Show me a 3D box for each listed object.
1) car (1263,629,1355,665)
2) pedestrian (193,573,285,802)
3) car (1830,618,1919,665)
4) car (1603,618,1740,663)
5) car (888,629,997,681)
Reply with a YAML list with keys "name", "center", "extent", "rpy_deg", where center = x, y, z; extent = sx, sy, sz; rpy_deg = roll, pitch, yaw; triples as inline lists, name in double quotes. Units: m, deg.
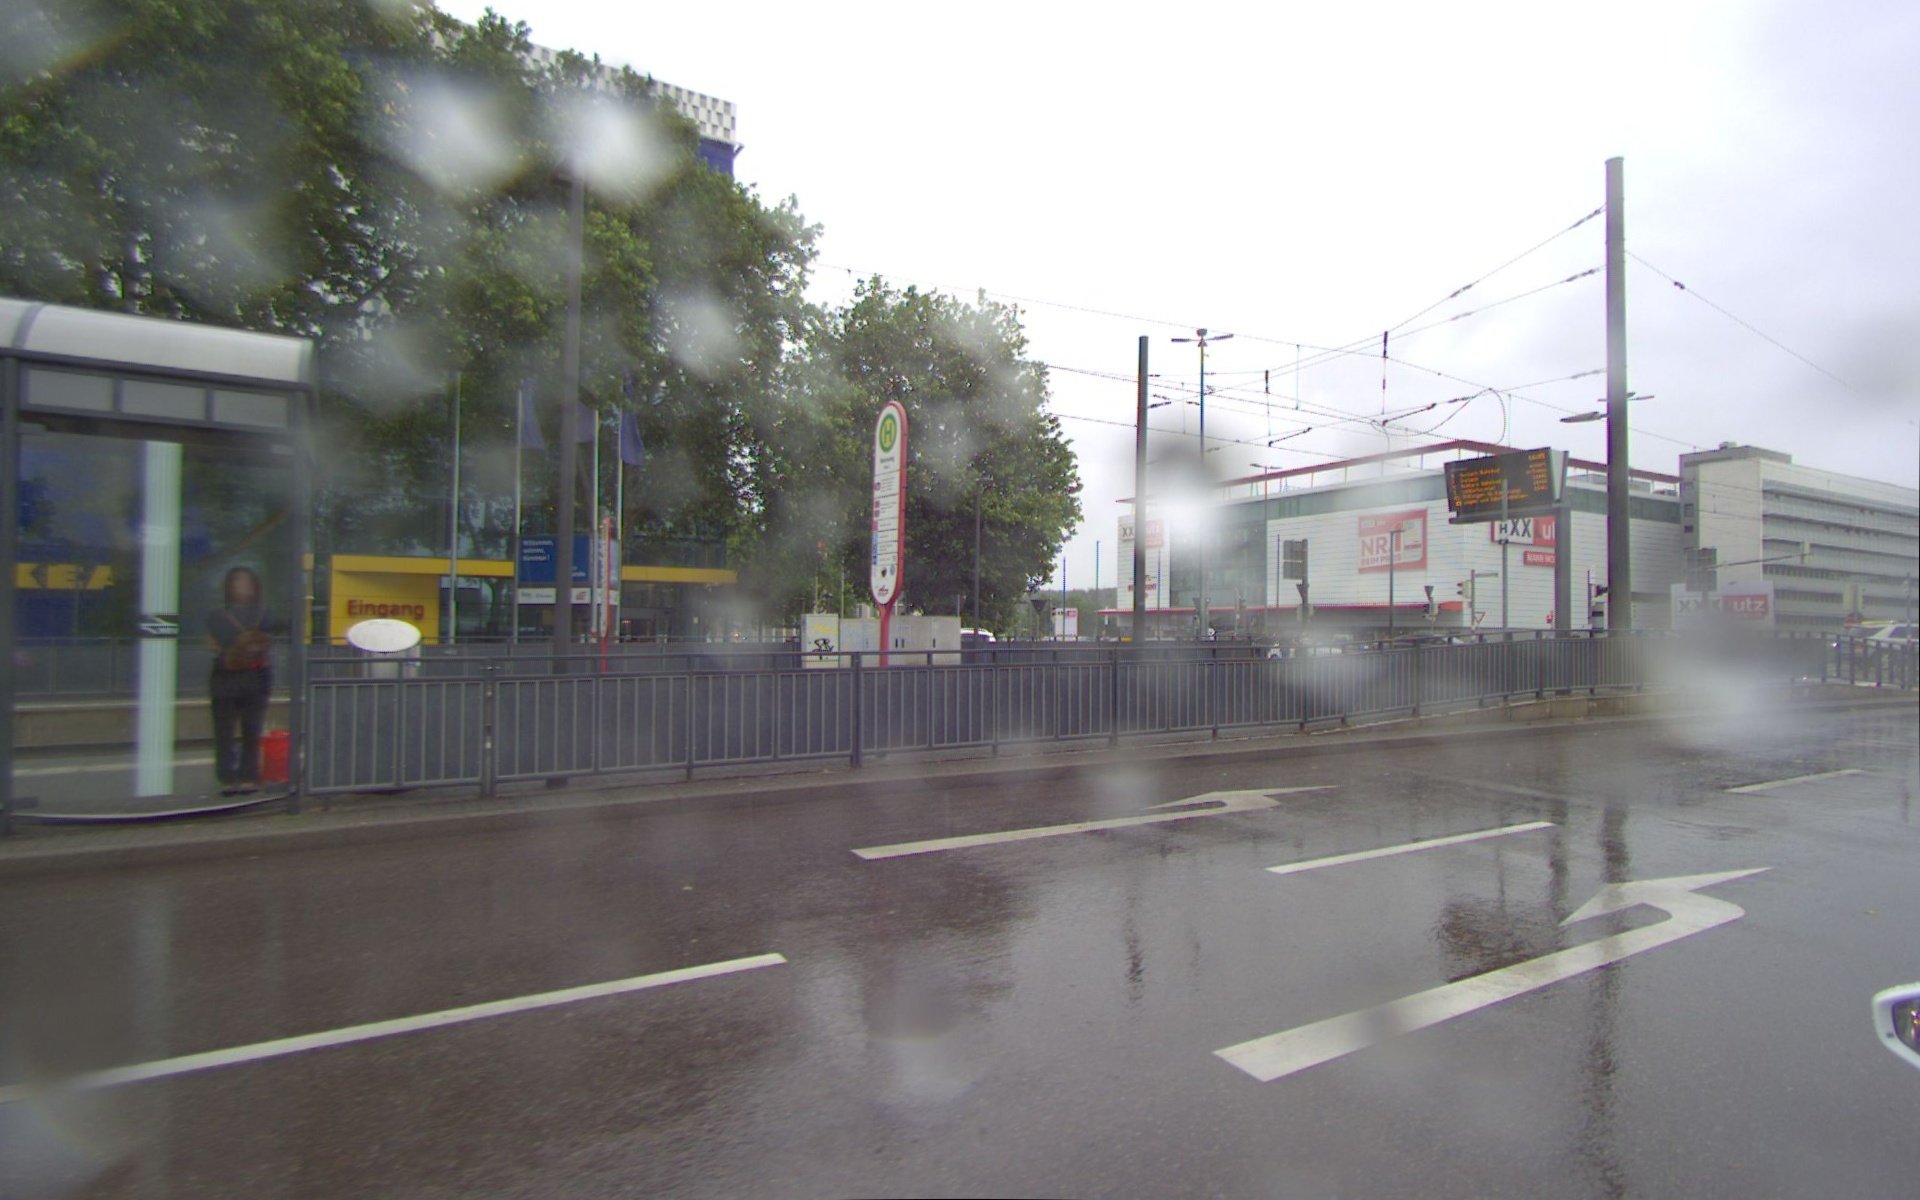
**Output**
- name: "car"
  center: [18.267, 2.444, 52.723]
  extent: [1.807, 1.521, 4.221]
  rpy_deg: [3, 0, -41]
- name: "pedestrian"
  center: [-4.915, 0.586, 6.860]
  extent: [0.410, 1.513, 0.320]
  rpy_deg: [2, 0, -25]
- name: "car"
  center: [36.629, 1.651, 38.587]
  extent: [4.379, 1.684, 1.952]
  rpy_deg: [3, 0, 24]
- name: "car"
  center: [27.521, 1.545, 38.930]
  extent: [4.139, 1.470, 1.708]
  rpy_deg: [3, 0, 43]
- name: "car"
  center: [-0.522, 1.697, 31.744]
  extent: [1.562, 1.483, 3.412]
  rpy_deg: [2, 0, 41]
